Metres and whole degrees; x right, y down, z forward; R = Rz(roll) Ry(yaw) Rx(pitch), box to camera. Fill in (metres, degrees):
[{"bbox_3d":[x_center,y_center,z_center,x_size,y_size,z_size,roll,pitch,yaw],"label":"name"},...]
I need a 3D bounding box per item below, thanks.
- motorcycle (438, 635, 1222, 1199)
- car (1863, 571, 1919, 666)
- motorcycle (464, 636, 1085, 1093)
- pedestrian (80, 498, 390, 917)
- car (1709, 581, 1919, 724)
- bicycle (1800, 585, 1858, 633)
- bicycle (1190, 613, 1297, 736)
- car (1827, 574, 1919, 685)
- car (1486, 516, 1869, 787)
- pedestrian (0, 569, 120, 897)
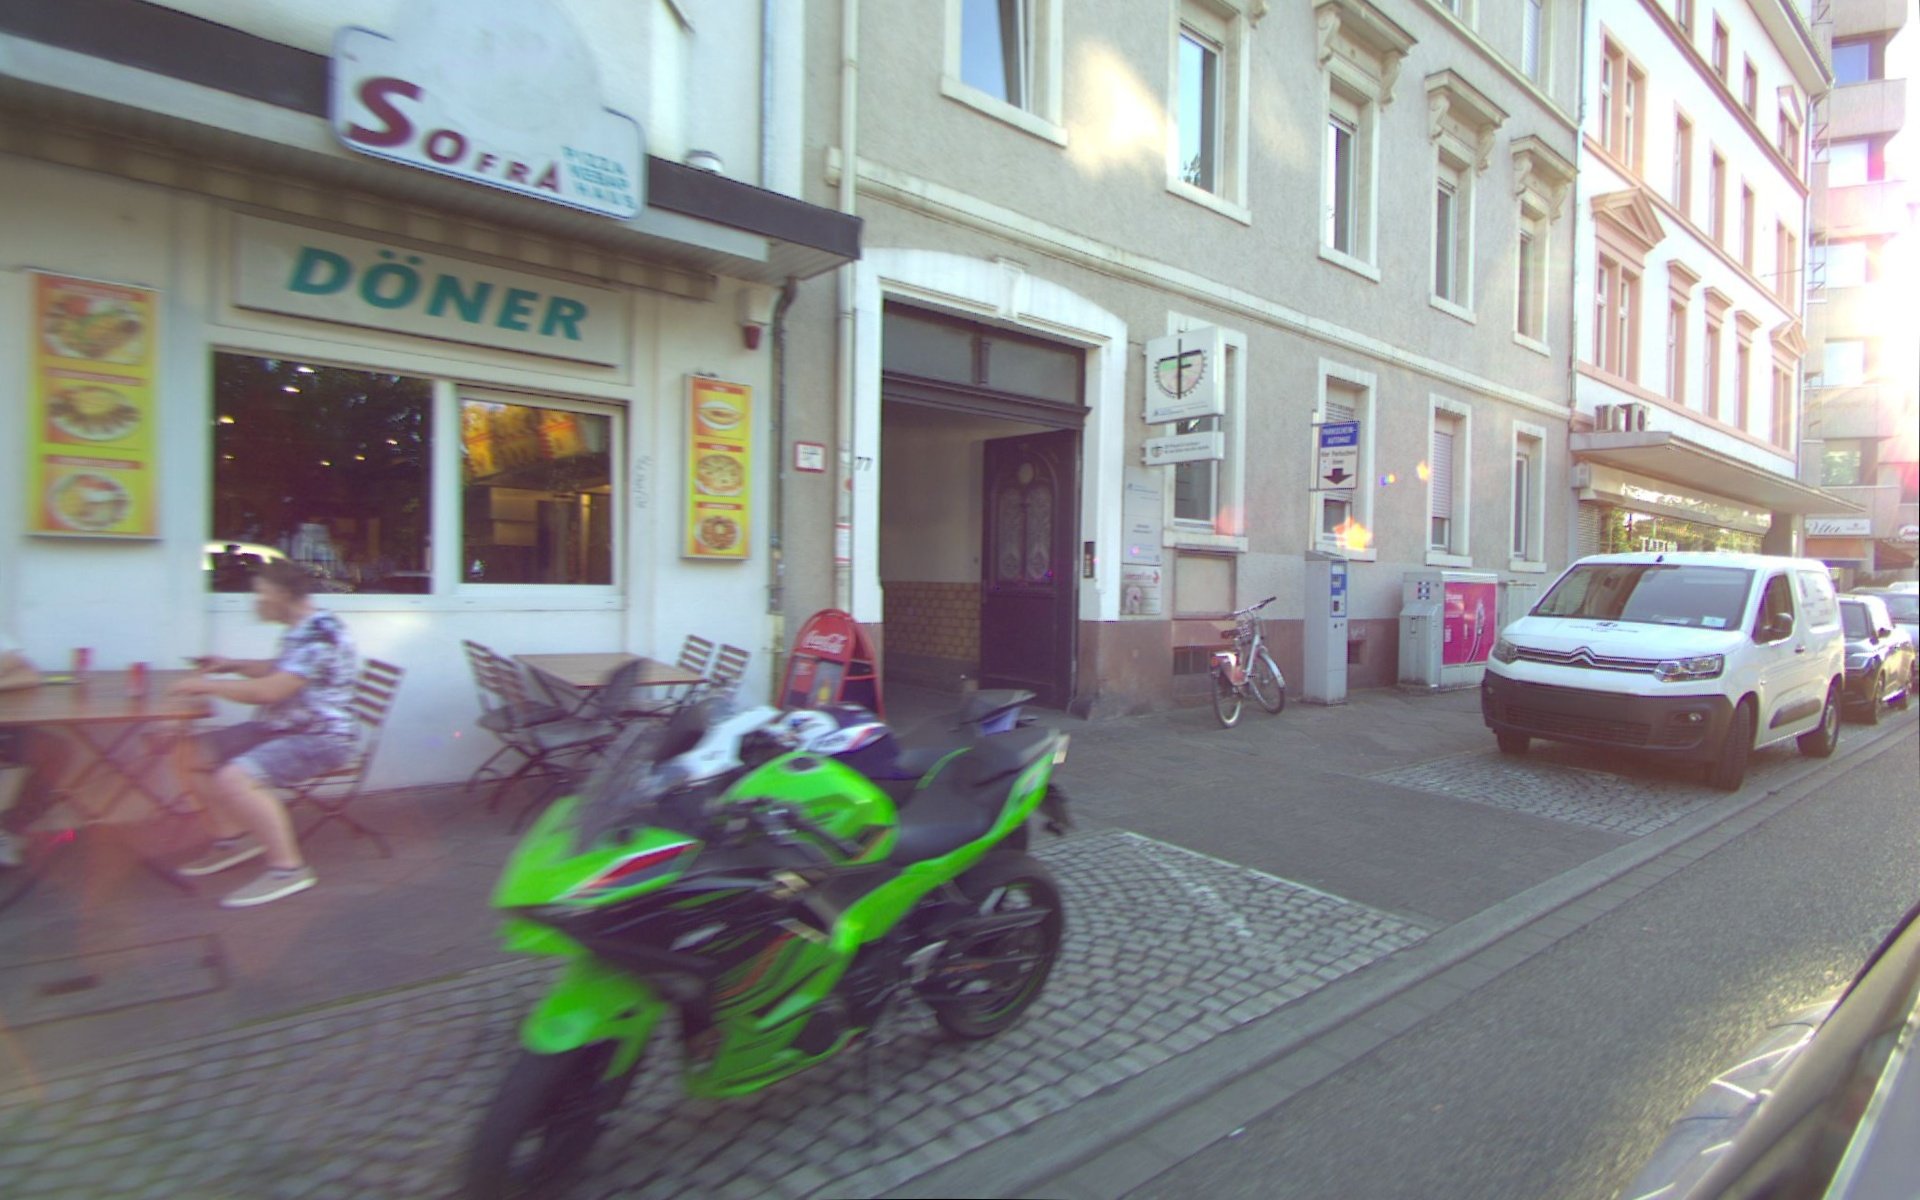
[{"bbox_3d":[-0.179,0.746,2.812,2.171,1.215,0.589,0,2,-41],"label":"motorcycle"},{"bbox_3d":[19.945,0.347,20.584,4.019,1.814,1.796,0,1,-40],"label":"car"},{"bbox_3d":[-0.510,0.730,3.600,2.171,1.137,0.589,0,0,-41],"label":"motorcycle"},{"bbox_3d":[-3.096,0.386,4.333,0.975,1.505,0.957,1,-1,-40],"label":"pedestrian"},{"bbox_3d":[11.095,0.576,12.911,3.814,1.564,1.670,0,0,-40],"label":"car"},{"bbox_3d":[25.846,0.248,30.123,0.408,1.291,1.663,1,4,7],"label":"bicycle"},{"bbox_3d":[2.757,0.666,9.743,0.453,1.024,1.691,0,1,35],"label":"bicycle"},{"bbox_3d":[15.887,0.451,16.836,4.036,1.686,1.659,0,0,-41],"label":"car"},{"bbox_3d":[6.468,0.359,8.942,4.228,1.858,1.713,0,0,-39],"label":"car"},{"bbox_3d":[-4.107,0.499,4.110,0.774,1.235,0.745,3,2,-10],"label":"pedestrian"}]
